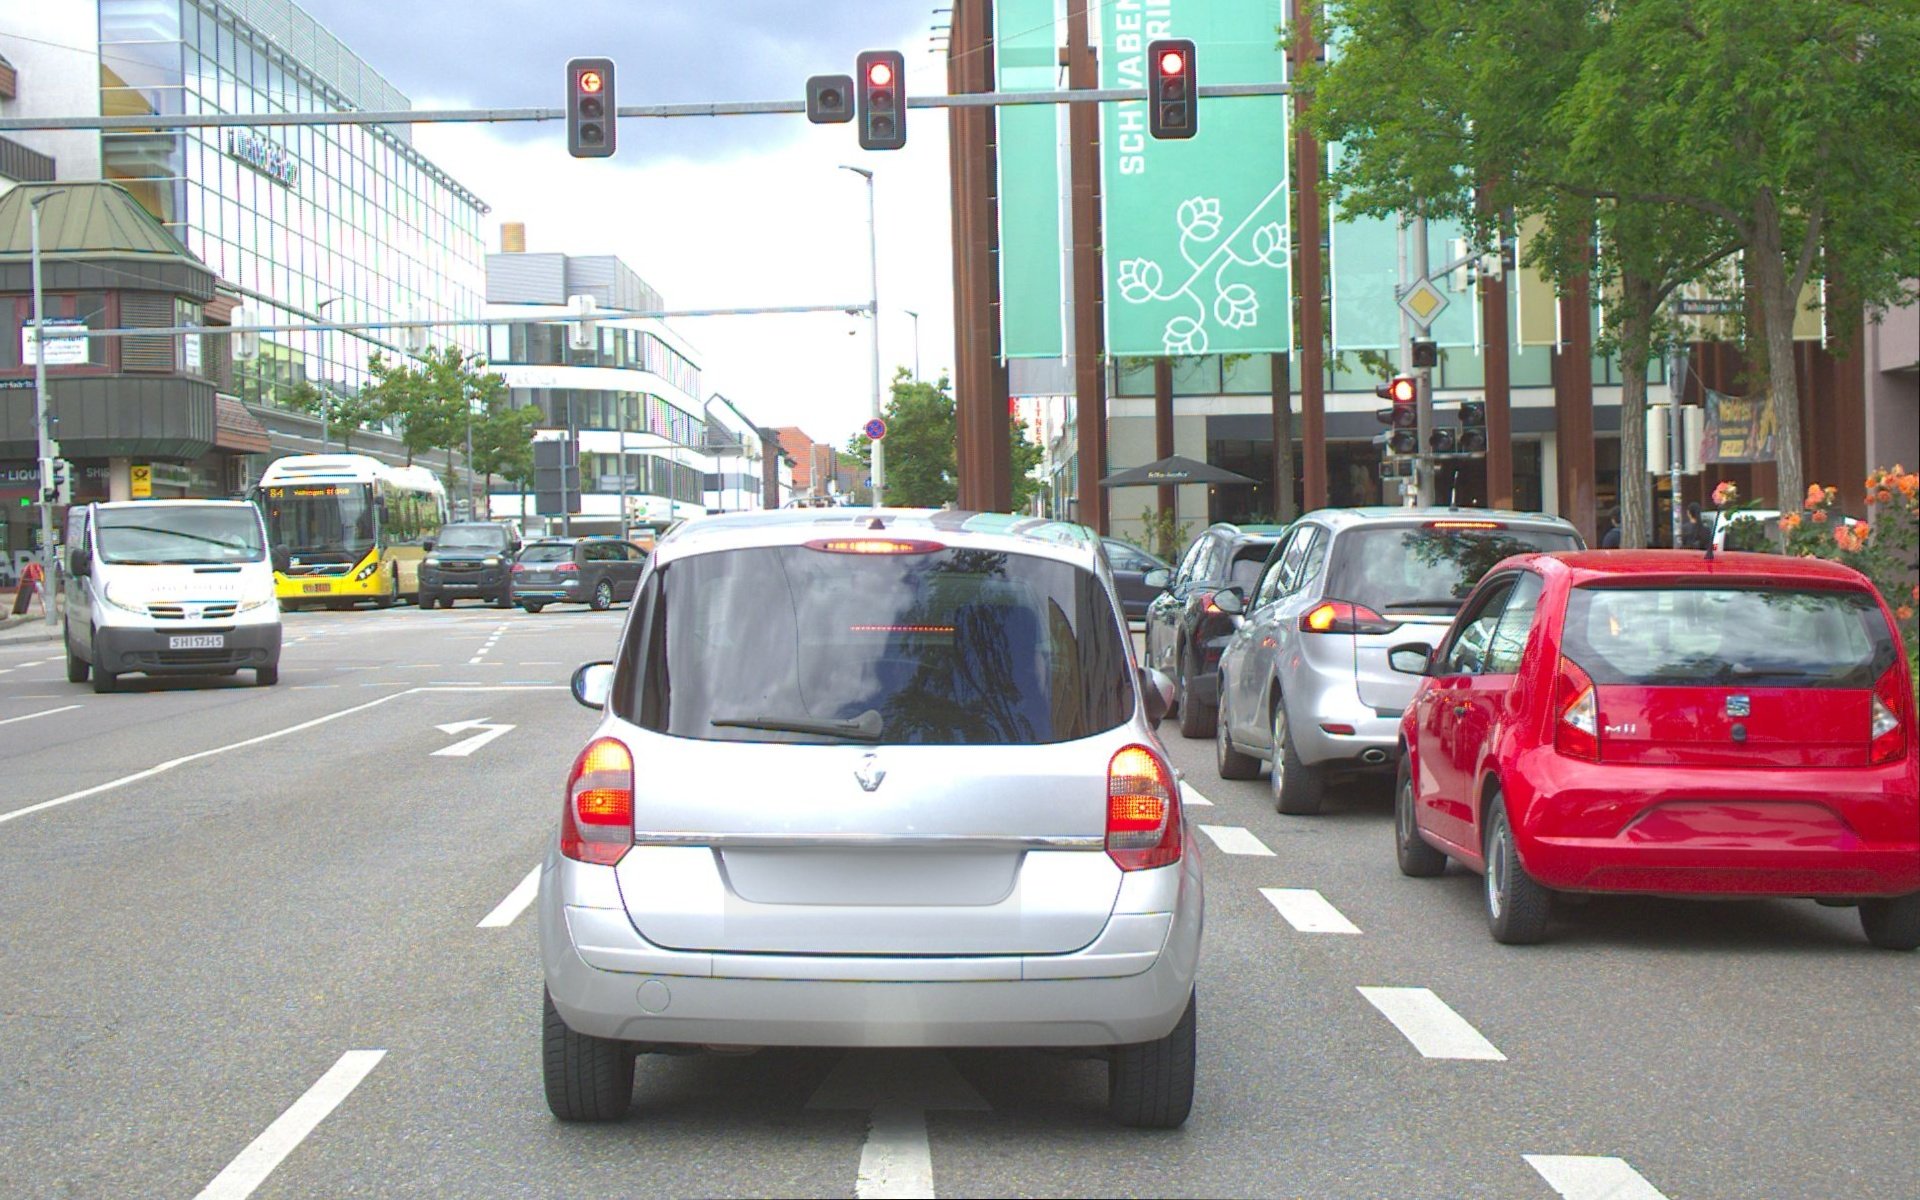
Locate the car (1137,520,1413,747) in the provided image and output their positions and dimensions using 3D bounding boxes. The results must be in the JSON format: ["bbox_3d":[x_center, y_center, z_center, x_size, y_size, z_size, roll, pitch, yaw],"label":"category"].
[{"bbox_3d":[2.342,0.196,26.402,1.586,1.589,3.869,1,1,-2],"label":"car"}]

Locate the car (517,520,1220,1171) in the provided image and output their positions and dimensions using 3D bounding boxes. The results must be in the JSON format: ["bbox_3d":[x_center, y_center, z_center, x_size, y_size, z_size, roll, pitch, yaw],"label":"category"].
[{"bbox_3d":[-0.240,0.541,9.755,1.640,1.522,3.394,0,1,-1],"label":"car"}]

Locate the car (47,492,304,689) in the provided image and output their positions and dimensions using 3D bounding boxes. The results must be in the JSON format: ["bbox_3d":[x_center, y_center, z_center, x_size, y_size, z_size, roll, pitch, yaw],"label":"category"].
[{"bbox_3d":[-8.418,-0.131,36.556,1.993,1.881,5.160,-2,1,-20],"label":"car"}]

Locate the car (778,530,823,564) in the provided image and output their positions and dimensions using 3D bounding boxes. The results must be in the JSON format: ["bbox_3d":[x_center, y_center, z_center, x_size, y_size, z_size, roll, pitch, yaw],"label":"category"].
[{"bbox_3d":[-7.347,-2.446,158.734,1.801,1.535,4.065,-1,1,1],"label":"car"}]

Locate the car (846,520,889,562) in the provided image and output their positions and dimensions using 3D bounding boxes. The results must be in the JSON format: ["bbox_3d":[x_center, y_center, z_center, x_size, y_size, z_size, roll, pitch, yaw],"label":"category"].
[{"bbox_3d":[-4.371,-2.800,162.712,1.993,1.942,4.951,-1,1,-2],"label":"car"}]

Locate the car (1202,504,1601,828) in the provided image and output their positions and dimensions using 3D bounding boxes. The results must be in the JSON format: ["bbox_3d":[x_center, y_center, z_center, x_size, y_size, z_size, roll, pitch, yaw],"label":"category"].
[{"bbox_3d":[2.391,0.296,19.503,1.586,1.628,3.917,1,1,-2],"label":"car"}]

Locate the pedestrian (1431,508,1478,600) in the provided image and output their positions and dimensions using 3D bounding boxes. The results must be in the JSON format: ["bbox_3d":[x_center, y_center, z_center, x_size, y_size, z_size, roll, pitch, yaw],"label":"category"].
[{"bbox_3d":[8.900,-0.826,61.927,0.651,1.645,0.559,-1,1,-15],"label":"pedestrian"}]

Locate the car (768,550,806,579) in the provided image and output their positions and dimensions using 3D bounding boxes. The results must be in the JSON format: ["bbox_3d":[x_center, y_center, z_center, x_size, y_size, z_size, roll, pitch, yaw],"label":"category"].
[{"bbox_3d":[-9.392,-1.942,186.636,1.801,1.535,4.065,-1,1,1],"label":"car"}]

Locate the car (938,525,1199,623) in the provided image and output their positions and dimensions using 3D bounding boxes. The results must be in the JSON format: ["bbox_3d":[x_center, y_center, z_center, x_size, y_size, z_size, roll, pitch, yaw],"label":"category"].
[{"bbox_3d":[1.607,-0.397,51.618,3.830,1.384,1.684,-1,1,0],"label":"car"}]

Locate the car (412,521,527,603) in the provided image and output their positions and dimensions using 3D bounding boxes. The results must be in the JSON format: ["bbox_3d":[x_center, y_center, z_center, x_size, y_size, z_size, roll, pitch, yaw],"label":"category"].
[{"bbox_3d":[-10.510,-0.833,73.851,1.993,1.700,4.065,-1,1,-2],"label":"car"}]

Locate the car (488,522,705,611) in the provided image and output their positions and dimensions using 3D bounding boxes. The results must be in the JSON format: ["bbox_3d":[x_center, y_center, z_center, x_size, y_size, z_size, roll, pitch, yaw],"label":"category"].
[{"bbox_3d":[-7.107,-0.677,67.634,1.921,1.671,4.234,0,1,35],"label":"car"}]

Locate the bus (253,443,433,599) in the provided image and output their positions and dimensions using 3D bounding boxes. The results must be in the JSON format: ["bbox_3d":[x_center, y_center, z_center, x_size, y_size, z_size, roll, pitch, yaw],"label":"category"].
[{"bbox_3d":[-13.619,-1.763,76.560,2.686,3.250,8.654,-1,1,-2],"label":"bus"}]

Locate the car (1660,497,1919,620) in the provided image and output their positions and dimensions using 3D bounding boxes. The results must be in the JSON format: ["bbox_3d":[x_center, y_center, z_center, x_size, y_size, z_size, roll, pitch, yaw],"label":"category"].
[{"bbox_3d":[12.859,-0.636,51.691,4.385,1.767,1.327,-1,1,0],"label":"car"}]

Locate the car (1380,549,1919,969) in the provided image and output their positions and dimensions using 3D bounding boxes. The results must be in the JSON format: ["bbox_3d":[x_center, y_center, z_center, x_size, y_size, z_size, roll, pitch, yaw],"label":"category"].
[{"bbox_3d":[2.715,0.537,13.788,1.586,1.438,3.348,1,1,-1],"label":"car"}]
